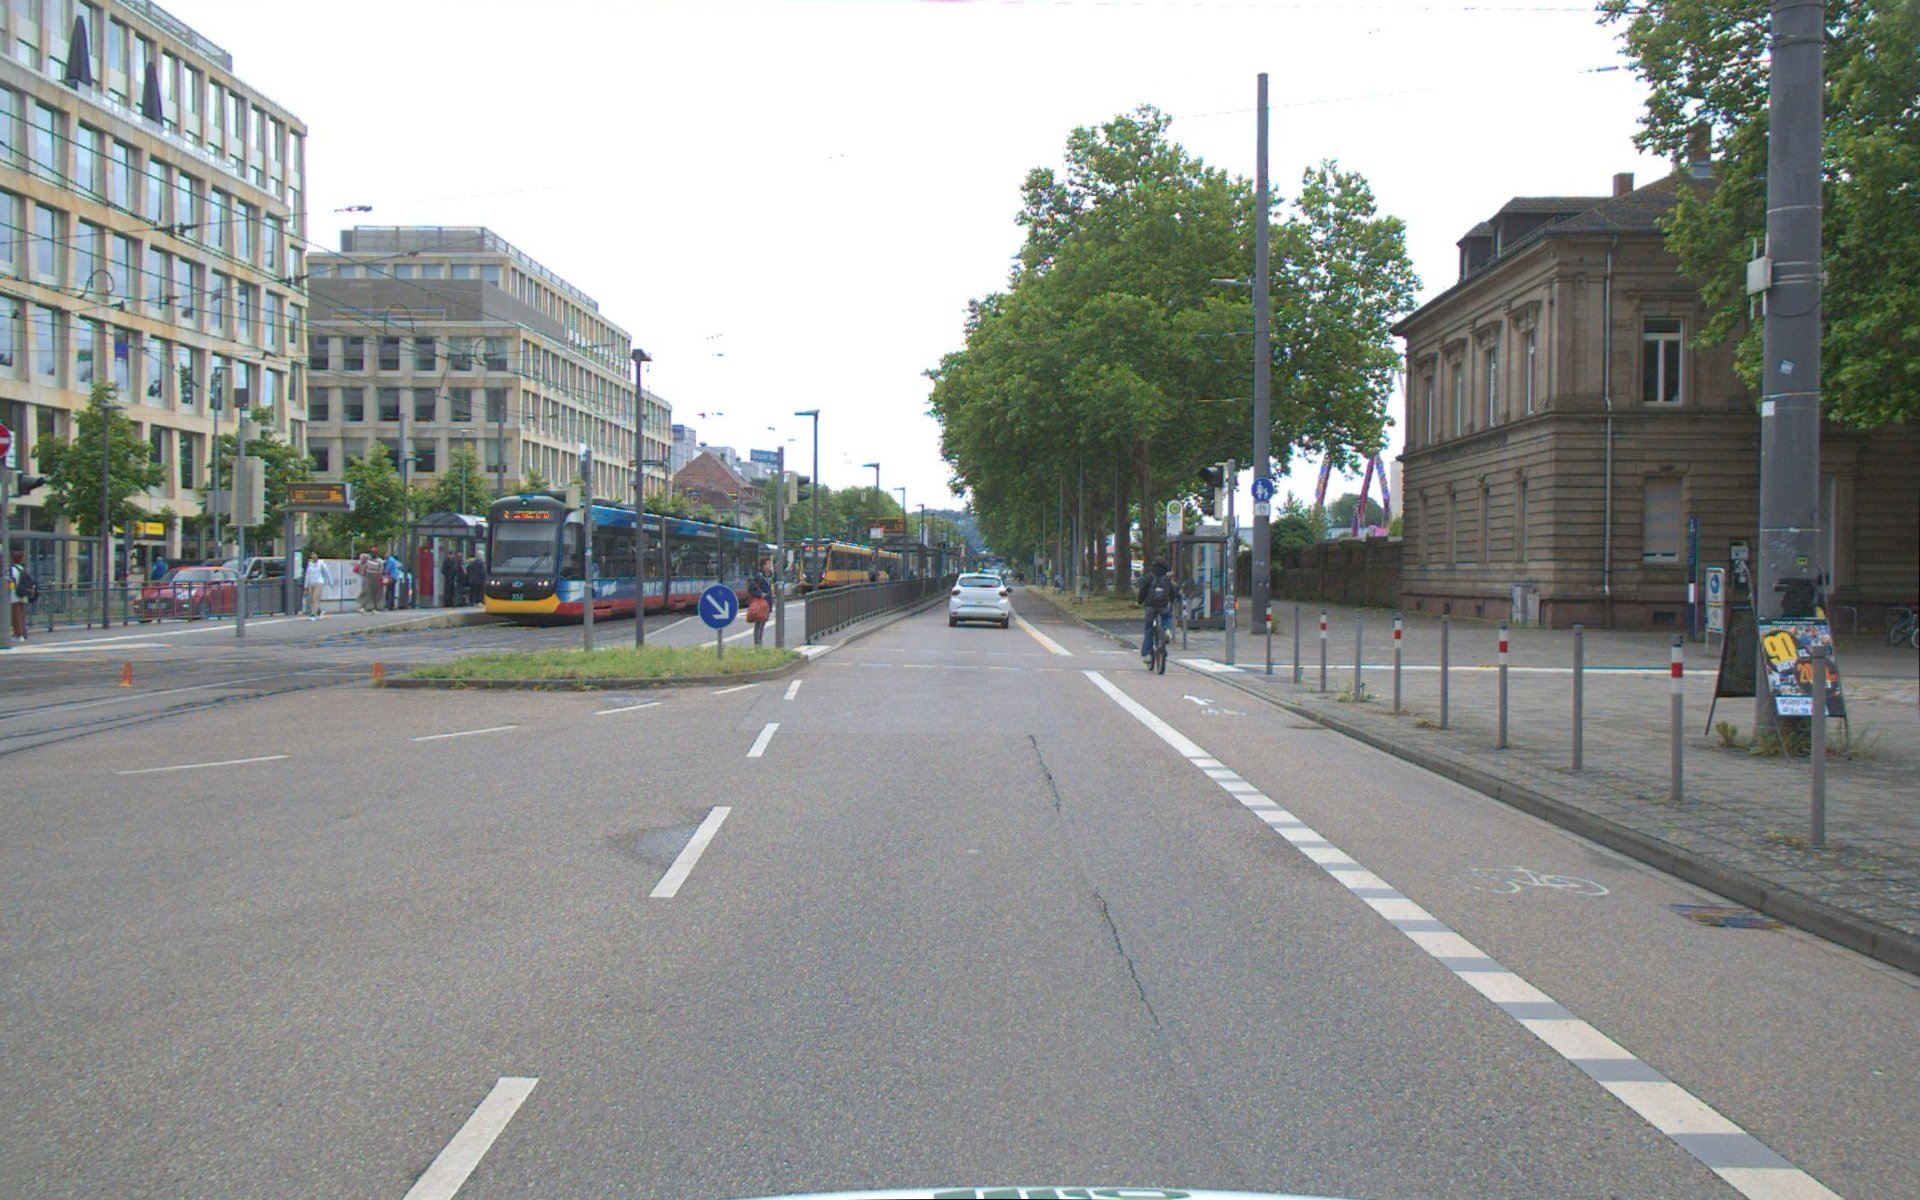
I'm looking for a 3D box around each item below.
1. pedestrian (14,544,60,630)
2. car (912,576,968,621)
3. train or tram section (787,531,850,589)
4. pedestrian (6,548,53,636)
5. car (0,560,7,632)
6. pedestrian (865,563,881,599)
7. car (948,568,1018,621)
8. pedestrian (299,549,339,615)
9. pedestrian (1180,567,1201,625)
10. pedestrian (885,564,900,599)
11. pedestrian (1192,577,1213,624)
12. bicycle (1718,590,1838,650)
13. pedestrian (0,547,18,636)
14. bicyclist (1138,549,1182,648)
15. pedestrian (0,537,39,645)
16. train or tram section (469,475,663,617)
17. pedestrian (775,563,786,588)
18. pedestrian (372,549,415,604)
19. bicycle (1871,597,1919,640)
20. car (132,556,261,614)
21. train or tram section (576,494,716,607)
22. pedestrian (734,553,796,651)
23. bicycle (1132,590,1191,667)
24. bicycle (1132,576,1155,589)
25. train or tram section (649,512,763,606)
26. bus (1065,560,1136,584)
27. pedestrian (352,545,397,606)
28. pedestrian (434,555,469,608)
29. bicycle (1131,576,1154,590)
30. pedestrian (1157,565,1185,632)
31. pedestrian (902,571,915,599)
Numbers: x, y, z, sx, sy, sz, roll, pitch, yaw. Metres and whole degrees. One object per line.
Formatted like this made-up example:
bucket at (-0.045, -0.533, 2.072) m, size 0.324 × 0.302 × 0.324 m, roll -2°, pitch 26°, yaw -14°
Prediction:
pedestrian at (-17.789, -0.247, 31.890) m, size 0.704 × 1.626 × 0.703 m, roll 0°, pitch 0°, yaw -23°
car at (-0.708, -0.089, 61.006) m, size 1.802 × 1.579 × 4.002 m, roll 1°, pitch 1°, yaw 3°
train or tram section at (-9.984, -2.745, 118.191) m, size 3.170 × 3.929 × 11.314 m, roll 0°, pitch 0°, yaw 2°
pedestrian at (-17.459, -0.148, 31.025) m, size 0.702 × 1.626 × 0.523 m, roll 0°, pitch 0°, yaw 36°
car at (-21.061, -0.062, 32.879) m, size 1.703 × 1.520 × 4.367 m, roll 0°, pitch 1°, yaw 0°
pedestrian at (-4.481, -0.985, 85.223) m, size 0.658 × 1.825 × 1.110 m, roll 0°, pitch 0°, yaw -12°
car at (0.714, -0.160, 48.117) m, size 1.846 × 1.478 × 4.002 m, roll 0°, pitch 0°, yaw 4°
pedestrian at (-15.730, -0.433, 40.594) m, size 0.693 × 1.613 × 0.766 m, roll 0°, pitch 0°, yaw -1°
pedestrian at (6.345, -0.119, 45.542) m, size 0.466 × 1.590 × 0.702 m, roll 0°, pitch 0°, yaw 1°
pedestrian at (-3.511, -0.955, 85.984) m, size 0.657 × 1.825 × 1.111 m, roll 0°, pitch 0°, yaw -7°
pedestrian at (6.494, 0.012, 44.296) m, size 0.466 × 1.255 × 0.702 m, roll 0°, pitch 0°, yaw 1°
bicycle at (17.793, 0.399, 36.112) m, size 0.882 × 1.086 × 3.407 m, roll 0°, pitch 3°, yaw 0°
pedestrian at (-17.872, -0.154, 30.620) m, size 0.702 × 1.626 × 0.523 m, roll 0°, pitch 0°, yaw 36°
bicyclist at (3.183, -0.024, 26.367) m, size 0.628 × 1.557 × 0.664 m, roll 0°, pitch 0°, yaw -1°
pedestrian at (-16.935, -0.155, 29.492) m, size 0.844 × 1.900 × 0.739 m, roll 0°, pitch 0°, yaw -33°
train or tram section at (-11.292, -1.420, 48.833) m, size 2.796 × 3.704 × 11.766 m, roll 0°, pitch 0°, yaw 0°
pedestrian at (-12.846, -1.756, 118.312) m, size 0.697 × 1.827 × 1.160 m, roll 0°, pitch 0°, yaw 0°
pedestrian at (-16.557, -0.681, 48.340) m, size 0.827 × 1.613 × 0.911 m, roll 0°, pitch 0°, yaw 15°
bicycle at (20.617, 0.402, 35.824) m, size 0.597 × 0.887 × 2.081 m, roll 0°, pitch 1°, yaw 0°
car at (-20.306, -0.408, 44.166) m, size 1.703 × 1.474 × 3.769 m, roll 0°, pitch 1°, yaw 0°
train or tram section at (-11.227, -1.654, 60.503) m, size 2.796 × 3.704 × 11.700 m, roll 0°, pitch 0°, yaw 0°
pedestrian at (-3.370, 0.031, 28.557) m, size 0.853 × 1.671 × 0.643 m, roll 0°, pitch 0°, yaw -41°
bicycle at (3.185, 0.437, 26.310) m, size 0.639 × 1.170 × 2.283 m, roll 0°, pitch 0°, yaw 0°
bicycle at (15.641, -1.492, 140.903) m, size 1.861 × 1.116 × 0.550 m, roll -1°, pitch 0°, yaw 0°
train or tram section at (-10.992, -1.664, 73.102) m, size 2.796 × 3.756 × 13.521 m, roll 0°, pitch 0°, yaw 0°
bus at (18.497, -3.683, 217.917) m, size 9.088 × 3.011 × 2.000 m, roll 0°, pitch 0°, yaw -1°
pedestrian at (-15.492, -0.645, 43.802) m, size 0.889 × 1.613 × 0.848 m, roll 0°, pitch 0°, yaw -1°
pedestrian at (-15.751, -0.567, 51.223) m, size 0.828 × 1.613 × 0.910 m, roll 0°, pitch 0°, yaw -3°
bicycle at (15.487, -1.470, 140.179) m, size 1.851 × 1.124 × 0.550 m, roll -1°, pitch 0°, yaw 0°
pedestrian at (4.988, -0.041, 39.079) m, size 0.540 × 1.555 × 0.638 m, roll 0°, pitch 0°, yaw 18°
pedestrian at (-2.440, -0.716, 78.749) m, size 0.598 × 1.364 × 0.600 m, roll 0°, pitch 0°, yaw 2°
